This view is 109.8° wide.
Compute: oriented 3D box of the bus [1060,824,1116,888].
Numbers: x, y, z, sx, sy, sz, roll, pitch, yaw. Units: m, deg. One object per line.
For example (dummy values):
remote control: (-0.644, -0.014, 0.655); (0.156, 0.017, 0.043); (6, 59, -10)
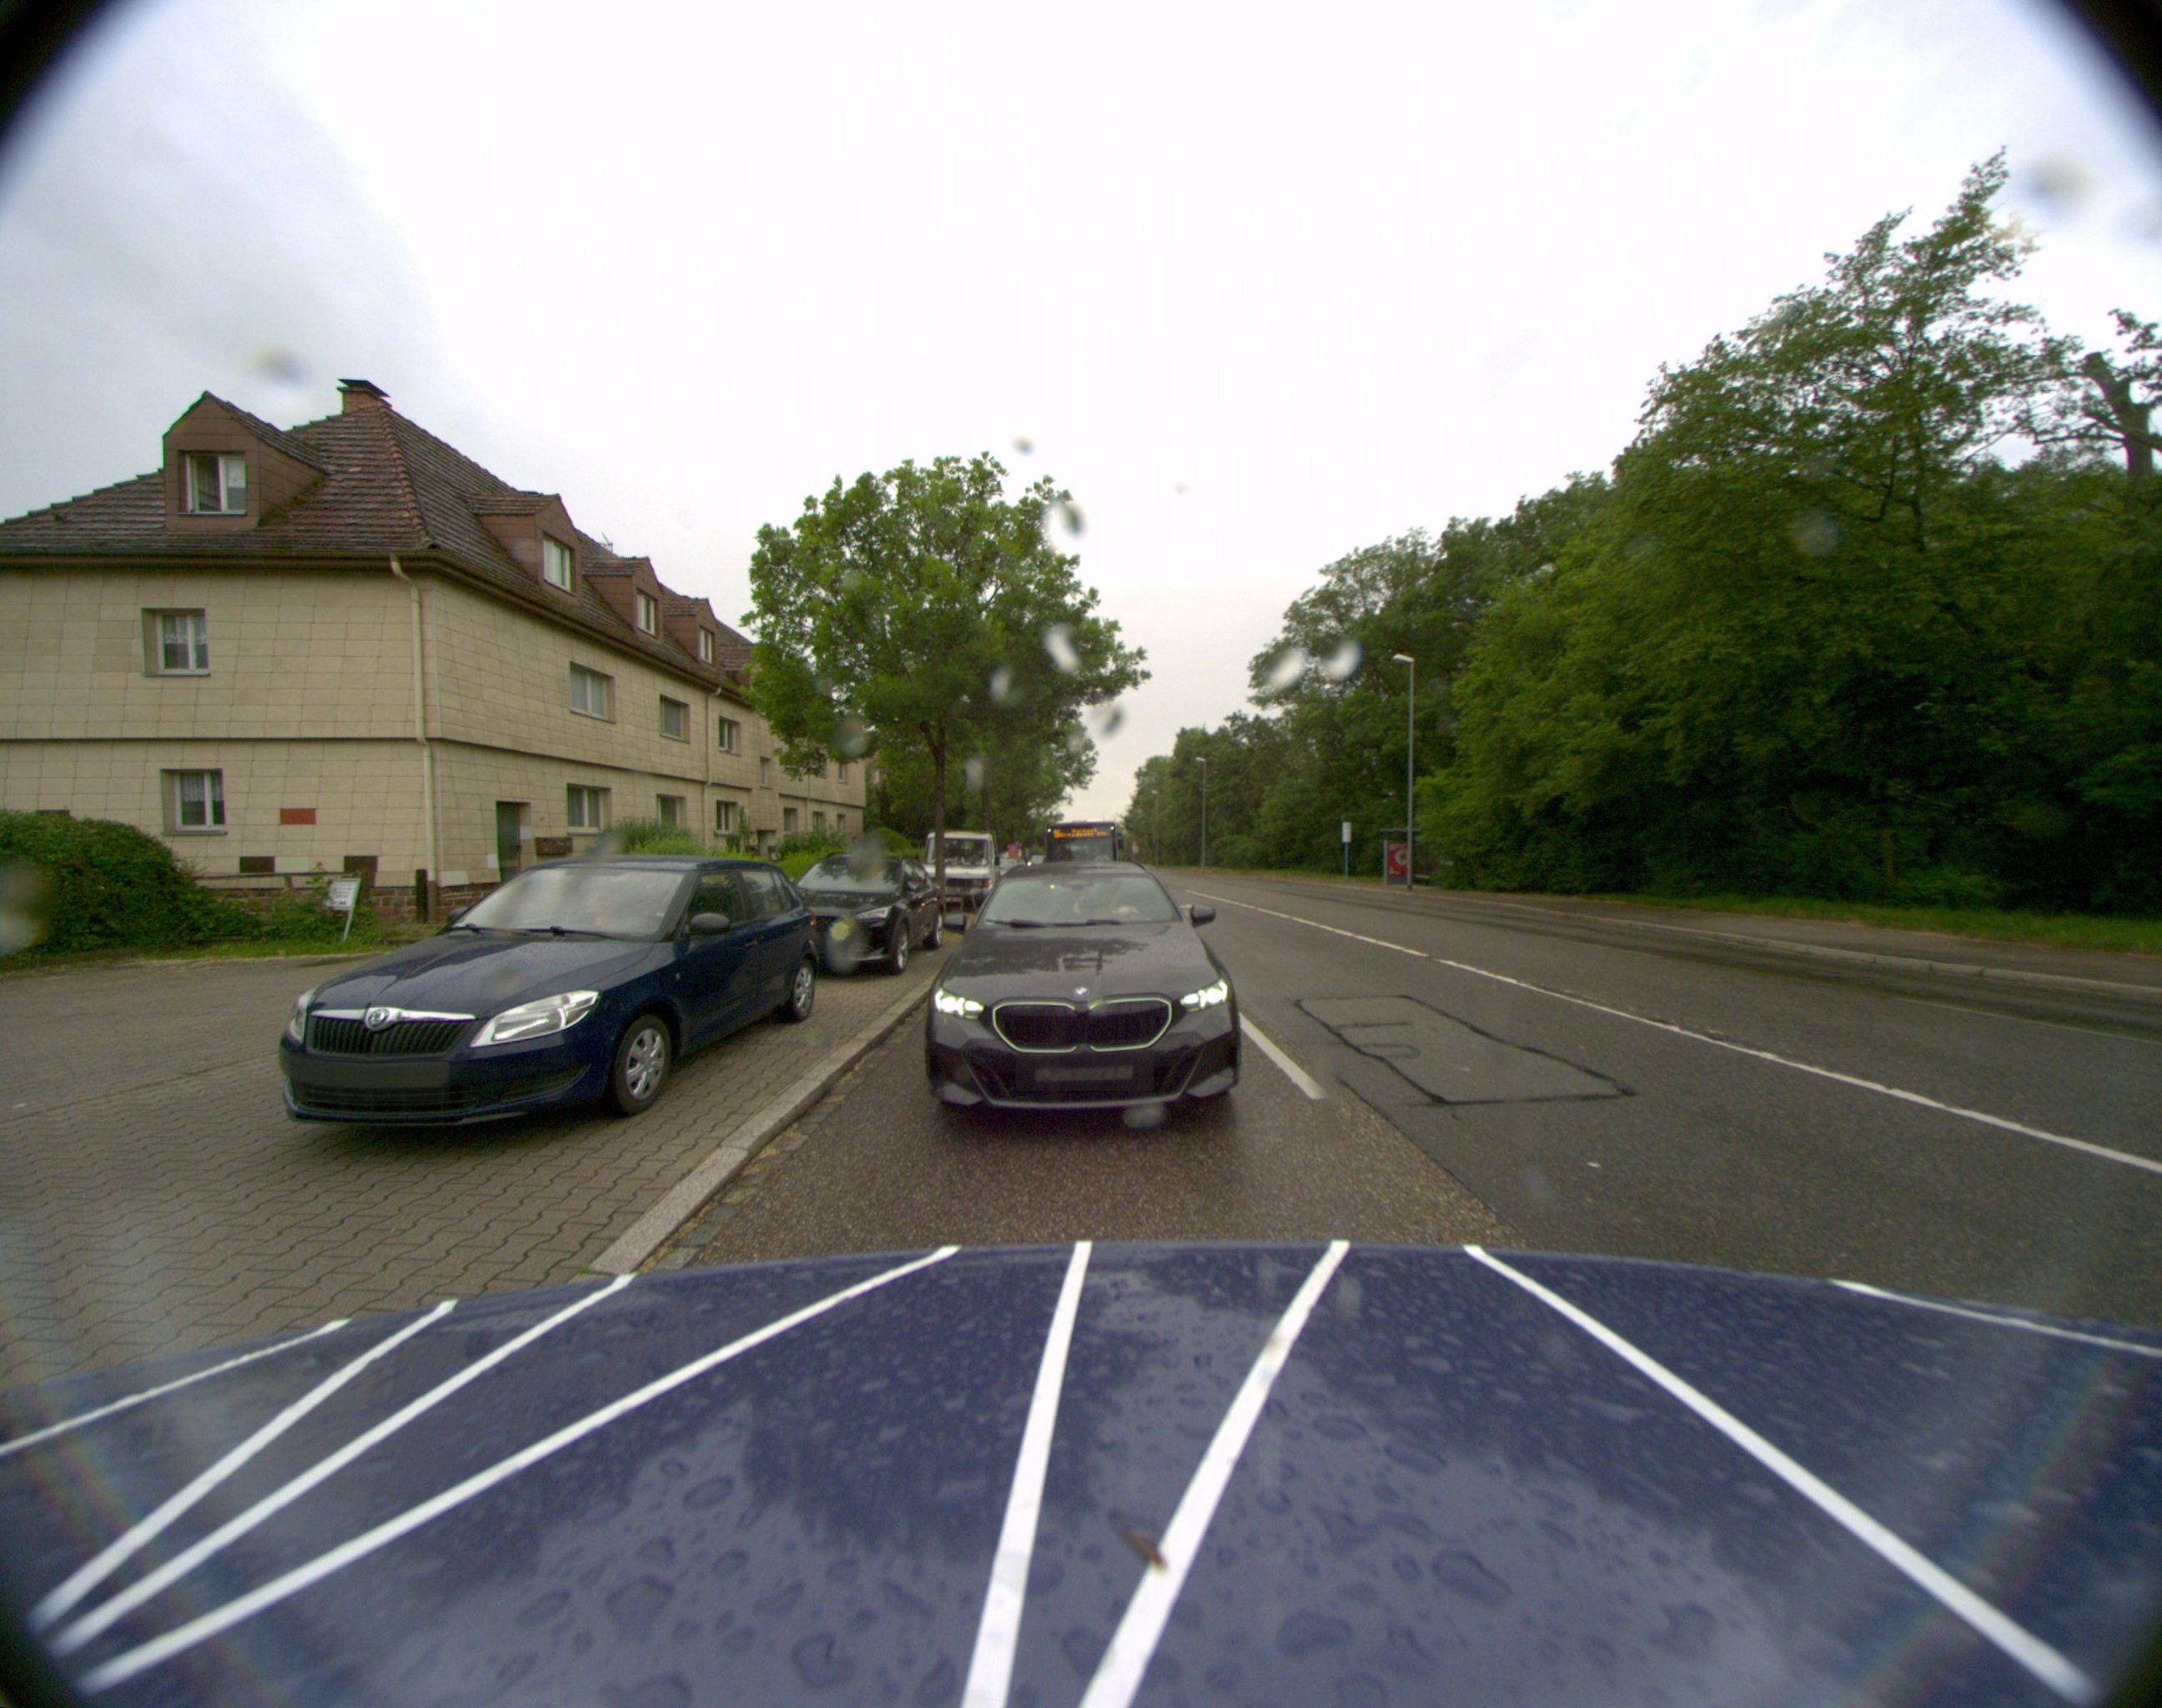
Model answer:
bus: (0.383, 0.103, 39.844); (2.561, 2.942, 8.557); (-1, 0, 1)

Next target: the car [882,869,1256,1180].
car: (-0.071, 0.902, 6.080); (1.855, 1.461, 4.483); (-1, 0, 0)

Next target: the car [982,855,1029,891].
car: (-3.266, 0.873, 33.419); (1.605, 1.427, 4.023); (3, -2, 0)

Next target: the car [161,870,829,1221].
car: (-3.250, 0.887, 5.301); (1.608, 1.463, 3.856); (1, 0, 1)

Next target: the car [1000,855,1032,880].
car: (-3.957, 0.799, 46.979); (1.692, 1.381, 4.499); (1, 0, -1)

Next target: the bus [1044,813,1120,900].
bus: (0.158, 0.099, 30.898); (2.562, 2.942, 9.450); (-1, 0, 1)

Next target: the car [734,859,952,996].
car: (-3.067, 0.849, 10.735); (1.718, 1.490, 4.183); (2, 0, 0)

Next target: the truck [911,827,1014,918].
truck: (-3.256, 0.460, 22.310); (2.085, 2.208, 6.500); (2, 0, -1)
